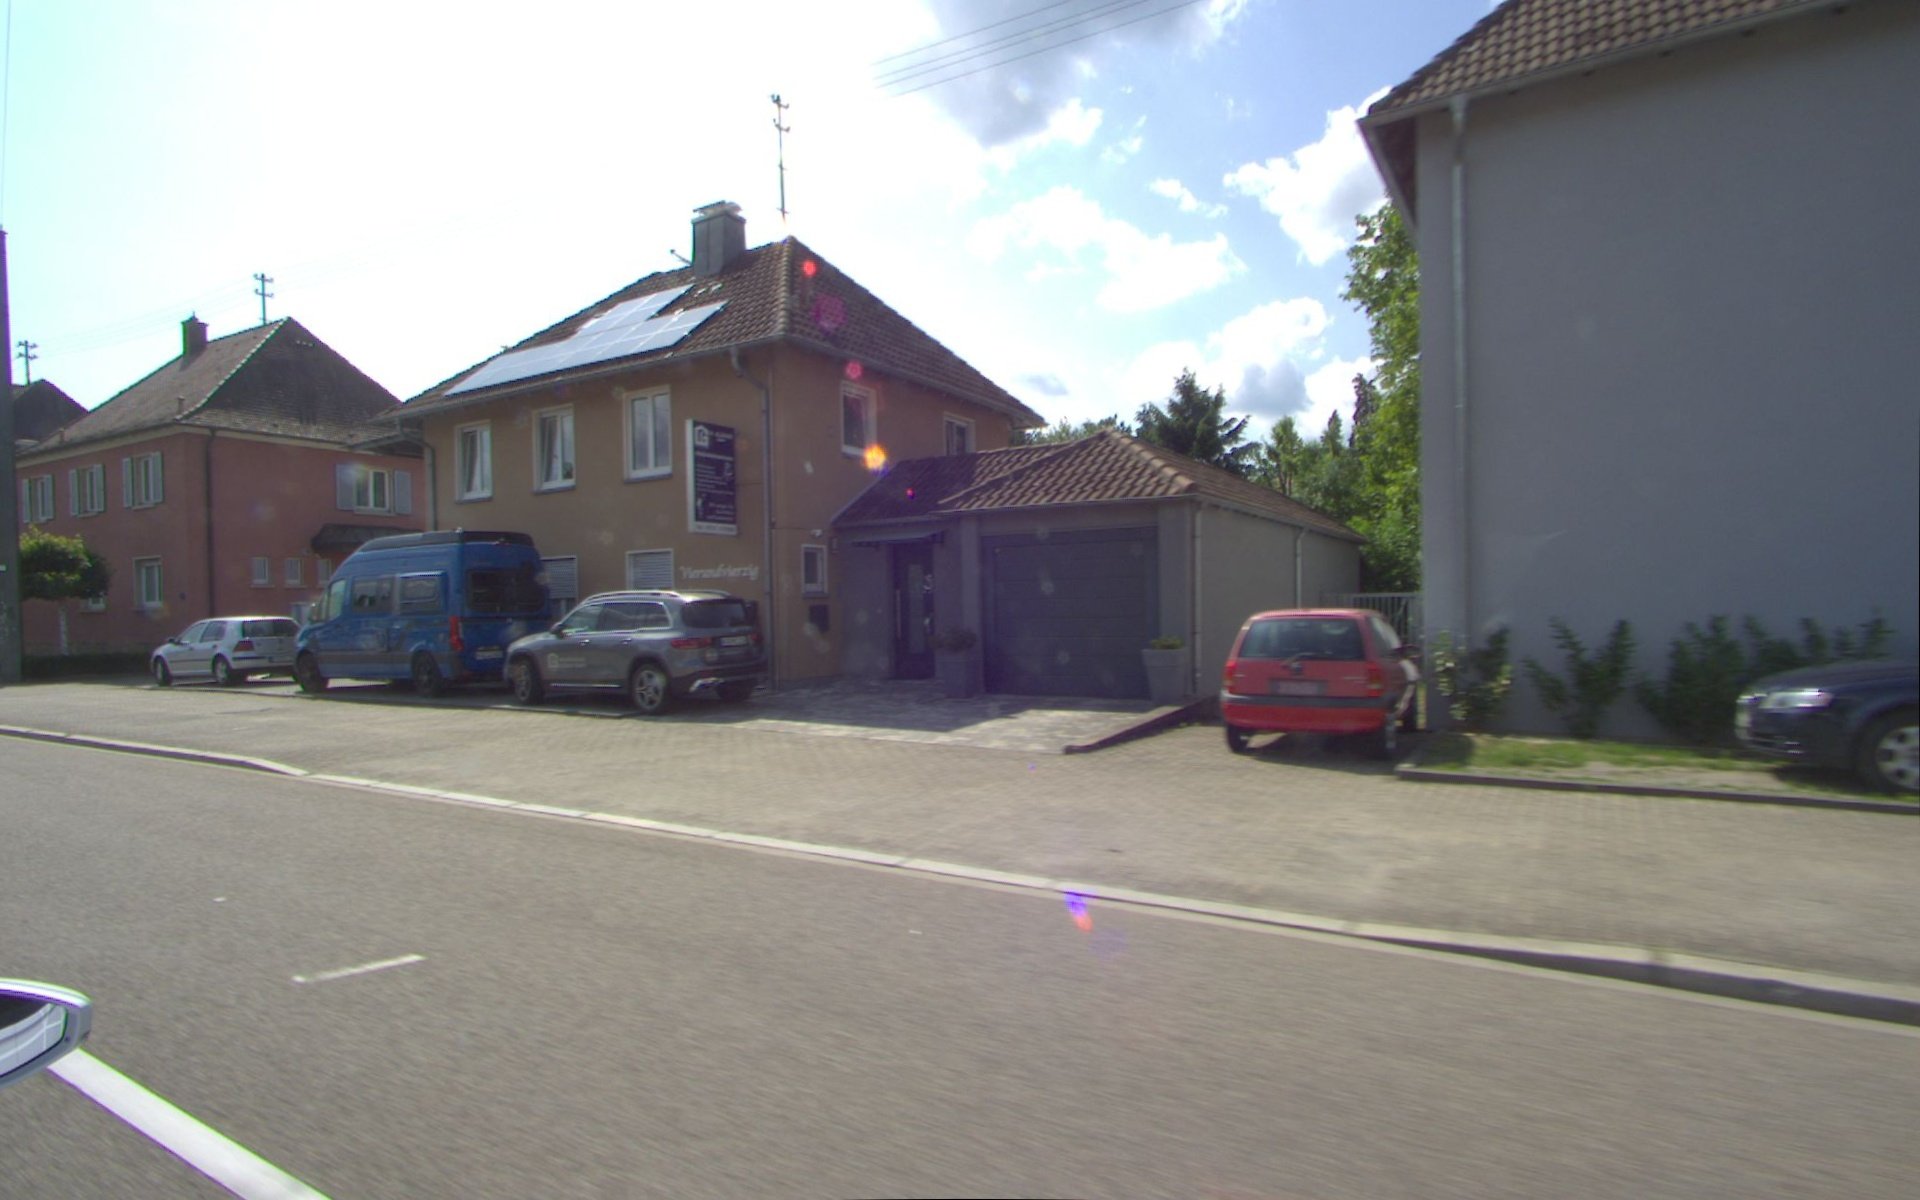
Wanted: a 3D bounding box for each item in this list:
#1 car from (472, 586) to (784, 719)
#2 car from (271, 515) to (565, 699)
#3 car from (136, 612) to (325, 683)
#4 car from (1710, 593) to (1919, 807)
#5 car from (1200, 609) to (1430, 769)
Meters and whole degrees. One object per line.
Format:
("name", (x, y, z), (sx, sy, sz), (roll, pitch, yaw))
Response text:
("car", (-5.140, 0.704, 15.295), (4.793, 1.735, 1.832), (0, 2, 32))
("car", (-10.252, 0.205, 18.743), (6.156, 2.967, 2.147), (-1, -1, 33))
("car", (-16.146, 1.022, 22.129), (4.283, 1.428, 1.647), (-1, 0, 28))
("car", (8.231, 0.664, 6.865), (4.788, 1.443, 1.794), (-1, 1, 33))
("car", (3.958, 0.819, 10.793), (1.701, 1.398, 3.644), (-1, -1, 30))
